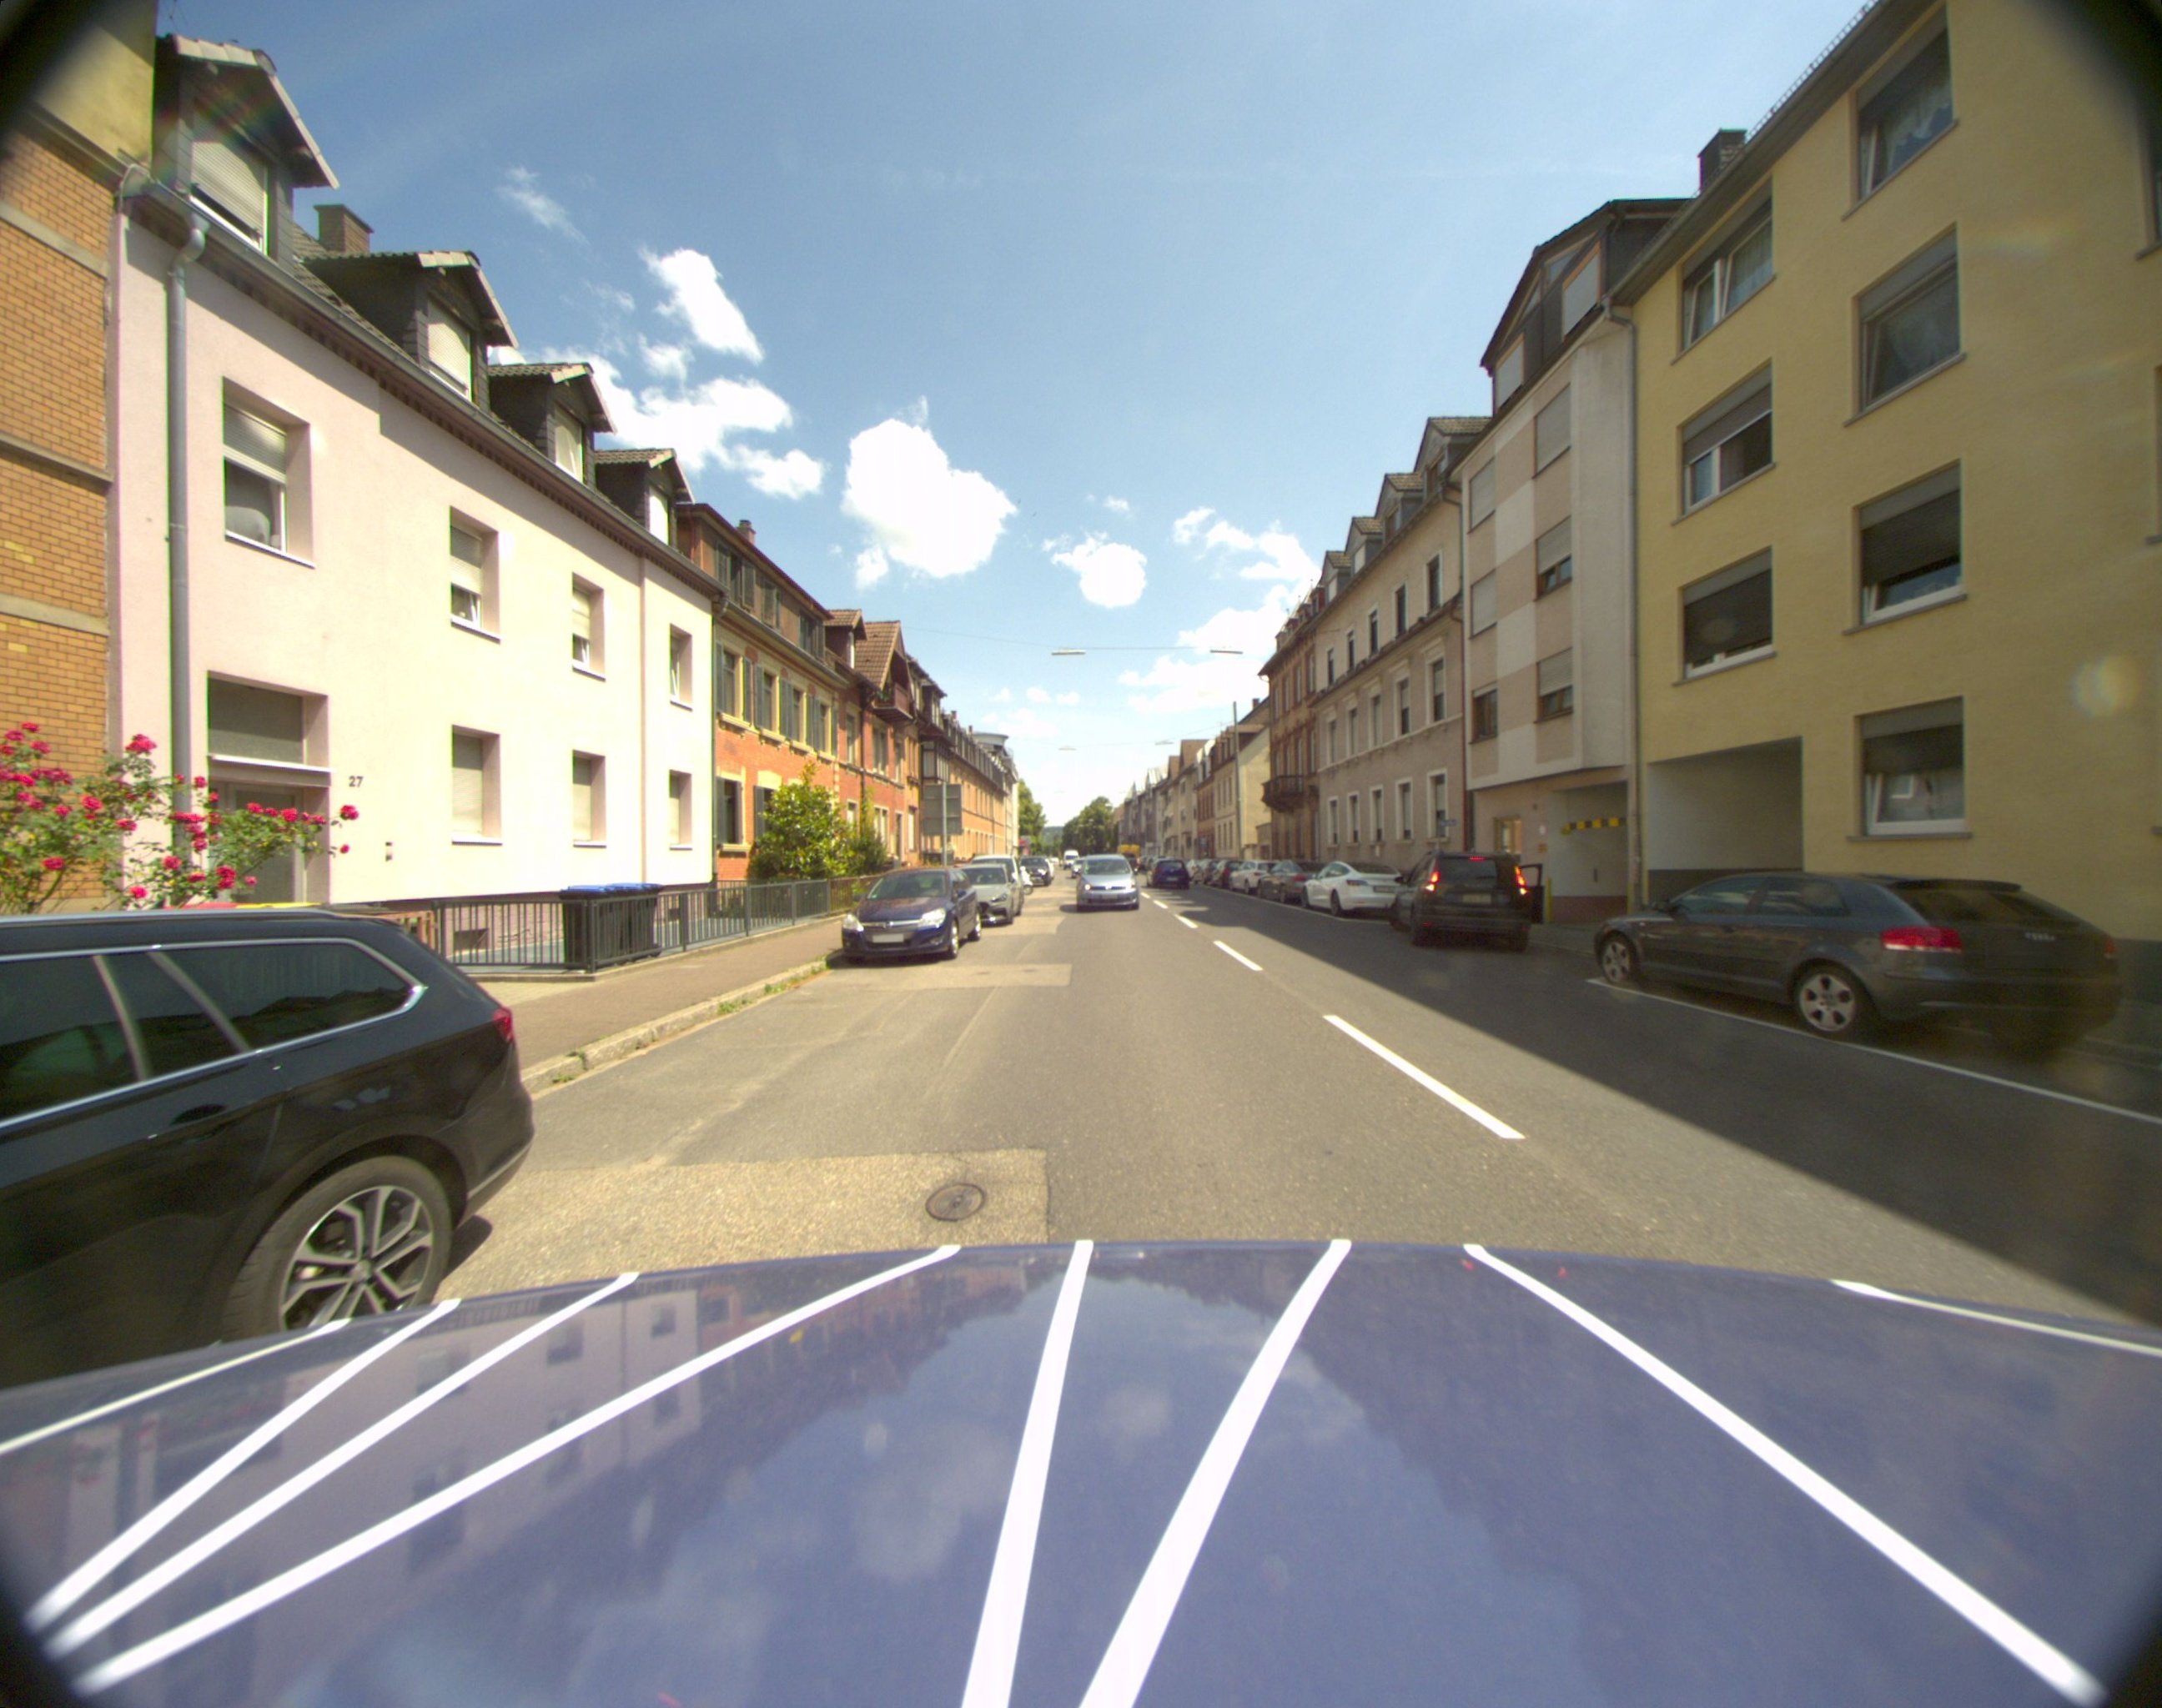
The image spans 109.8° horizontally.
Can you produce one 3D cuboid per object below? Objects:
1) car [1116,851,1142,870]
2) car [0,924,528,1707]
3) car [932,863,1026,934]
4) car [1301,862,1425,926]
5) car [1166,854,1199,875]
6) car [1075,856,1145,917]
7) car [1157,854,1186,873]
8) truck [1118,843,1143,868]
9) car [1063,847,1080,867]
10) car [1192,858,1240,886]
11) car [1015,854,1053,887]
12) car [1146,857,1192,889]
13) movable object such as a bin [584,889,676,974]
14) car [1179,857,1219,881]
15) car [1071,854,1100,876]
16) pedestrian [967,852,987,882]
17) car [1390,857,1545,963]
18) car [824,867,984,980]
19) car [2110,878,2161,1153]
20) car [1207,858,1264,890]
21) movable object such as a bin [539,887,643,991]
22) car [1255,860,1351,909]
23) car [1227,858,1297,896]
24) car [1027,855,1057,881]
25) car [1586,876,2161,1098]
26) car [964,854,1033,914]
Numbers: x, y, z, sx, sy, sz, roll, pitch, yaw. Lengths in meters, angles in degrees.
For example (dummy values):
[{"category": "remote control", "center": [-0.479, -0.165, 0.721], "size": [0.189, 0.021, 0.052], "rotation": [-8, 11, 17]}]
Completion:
[{"category": "car", "center": [3.820, 0.504, 61.117], "size": [1.810, 1.522, 4.000], "rotation": [1, 0, 1]}, {"category": "car", "center": [-3.074, 1.050, 0.753], "size": [1.762, 1.470, 4.418], "rotation": [-3, 0, 0]}, {"category": "car", "center": [-2.427, 1.017, 18.960], "size": [1.708, 1.470, 3.931], "rotation": [-3, 0, 0]}, {"category": "car", "center": [7.311, 0.977, 20.171], "size": [1.749, 1.402, 4.285], "rotation": [2, 0, 2]}, {"category": "car", "center": [7.436, 0.761, 56.006], "size": [1.665, 1.402, 4.103], "rotation": [2, 0, -2]}, {"category": "car", "center": [0.788, 0.862, 21.842], "size": [1.758, 1.559, 4.000], "rotation": [-2, 0, 1]}, {"category": "car", "center": [7.230, 0.710, 60.917], "size": [1.665, 1.402, 4.103], "rotation": [2, 0, -2]}, {"category": "truck", "center": [5.610, 0.155, 87.579], "size": [2.323, 2.724, 8.068], "rotation": [-1, 0, 0]}, {"category": "car", "center": [-1.160, 0.383, 90.895], "size": [1.905, 2.261, 5.671], "rotation": [-1, 0, 0]}, {"category": "car", "center": [7.597, 0.975, 43.055], "size": [1.749, 1.402, 4.103], "rotation": [2, 0, -2]}, {"category": "car", "center": [-2.505, 0.870, 41.489], "size": [1.708, 1.618, 3.931], "rotation": [-3, 0, 0]}, {"category": "car", "center": [4.254, 0.883, 37.114], "size": [1.810, 1.425, 4.000], "rotation": [1, 0, 1]}, {"category": "movable object such as a bin", "center": [-6.290, 1.064, 10.643], "size": [0.753, 1.091, 0.877], "rotation": [-1, 0, 0]}, {"category": "car", "center": [7.521, 0.926, 48.770], "size": [1.749, 1.402, 4.103], "rotation": [2, 0, -2]}, {"category": "car", "center": [0.398, 0.776, 55.185], "size": [1.904, 1.489, 4.488], "rotation": [-1, 0, 2]}, {"category": "pedestrian", "center": [-6.504, 0.817, 47.540], "size": [1.056, 1.851, 0.981], "rotation": [-1, 0, 1]}, {"category": "car", "center": [6.839, 0.888, 13.867], "size": [1.746, 1.579, 3.958], "rotation": [2, 0, 16]}, {"category": "car", "center": [-2.801, 1.034, 12.923], "size": [1.708, 1.470, 3.931], "rotation": [-3, 0, 0]}, {"category": "car", "center": [7.054, 0.954, 2.339], "size": [1.869, 1.542, 4.313], "rotation": [2, 0, 0]}, {"category": "car", "center": [7.561, 0.949, 37.553], "size": [1.749, 1.402, 4.103], "rotation": [2, 0, -2]}, {"category": "movable object such as a bin", "center": [-6.289, 1.066, 9.800], "size": [0.753, 1.234, 0.877], "rotation": [-1, 0, 0]}, {"category": "car", "center": [7.334, 0.951, 25.585], "size": [1.749, 1.402, 4.512], "rotation": [2, 0, -2]}, {"category": "car", "center": [7.521, 0.932, 31.937], "size": [1.749, 1.402, 4.103], "rotation": [2, 0, -2]}, {"category": "car", "center": [-2.564, 0.894, 51.063], "size": [1.708, 1.618, 3.931], "rotation": [-3, 0, 0]}, {"category": "car", "center": [7.052, 0.999, 7.341], "size": [1.749, 1.402, 3.915], "rotation": [2, 0, 2]}, {"category": "car", "center": [-2.578, 0.897, 24.562], "size": [1.708, 1.700, 3.931], "rotation": [-3, 0, 0]}]
